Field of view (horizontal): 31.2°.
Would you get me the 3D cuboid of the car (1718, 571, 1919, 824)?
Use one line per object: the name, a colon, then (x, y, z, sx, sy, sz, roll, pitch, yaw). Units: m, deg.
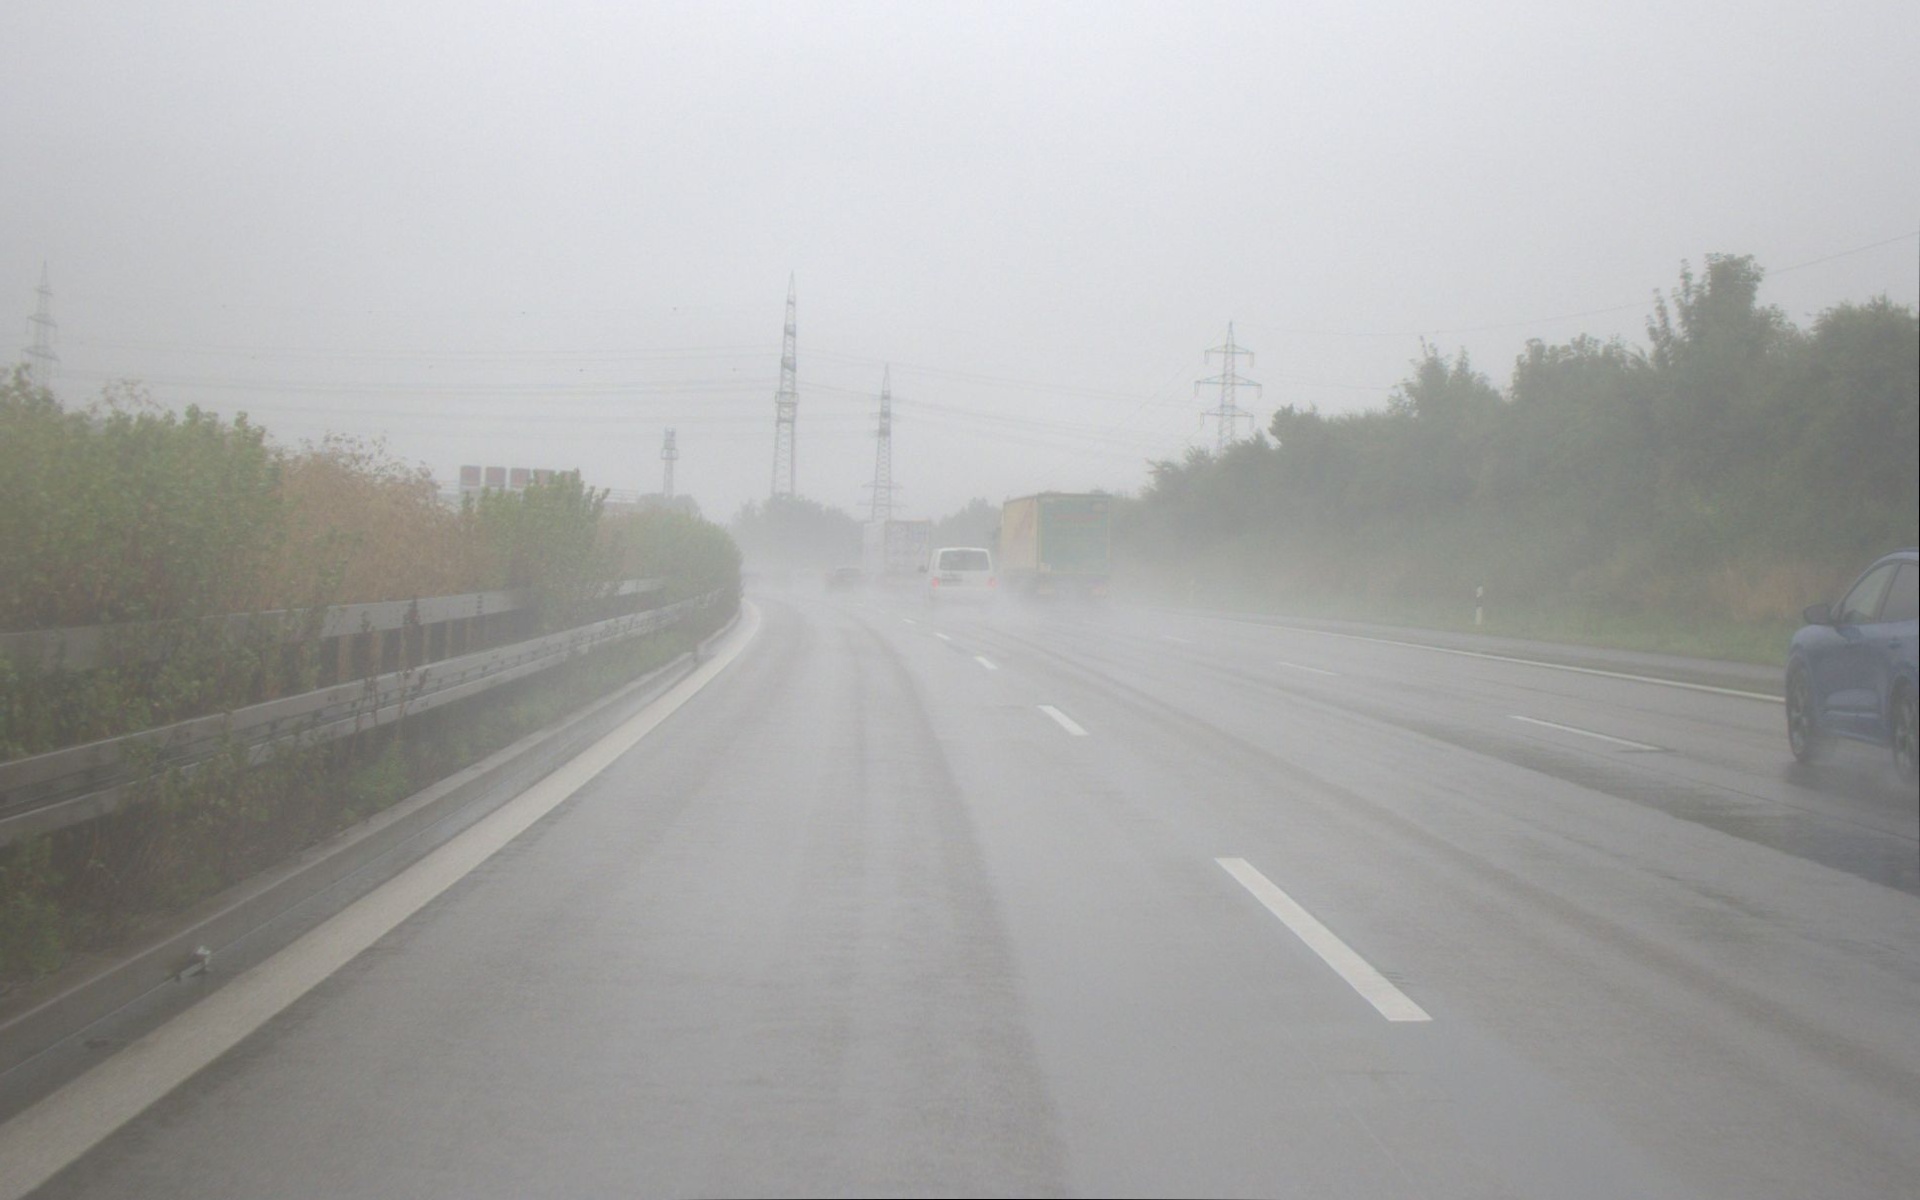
car: (7.008, 0.625, 24.464, 1.993, 1.613, 4.993, 0, 0, -1)

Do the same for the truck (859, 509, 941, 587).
truck: (-3.441, -2.937, 194.855, 3.231, 4.297, 8.839, 0, 1, -10)

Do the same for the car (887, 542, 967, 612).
car: (-0.993, -0.689, 100.969, 1.993, 2.007, 4.001, 0, 1, -5)

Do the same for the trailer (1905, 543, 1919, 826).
trailer: (7.047, 0.540, 20.333, 1.979, 1.779, 3.189, 0, 0, -1)

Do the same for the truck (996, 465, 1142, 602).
truck: (3.795, -2.291, 124.764, 4.189, 4.614, 16.106, 1, 0, -2)
